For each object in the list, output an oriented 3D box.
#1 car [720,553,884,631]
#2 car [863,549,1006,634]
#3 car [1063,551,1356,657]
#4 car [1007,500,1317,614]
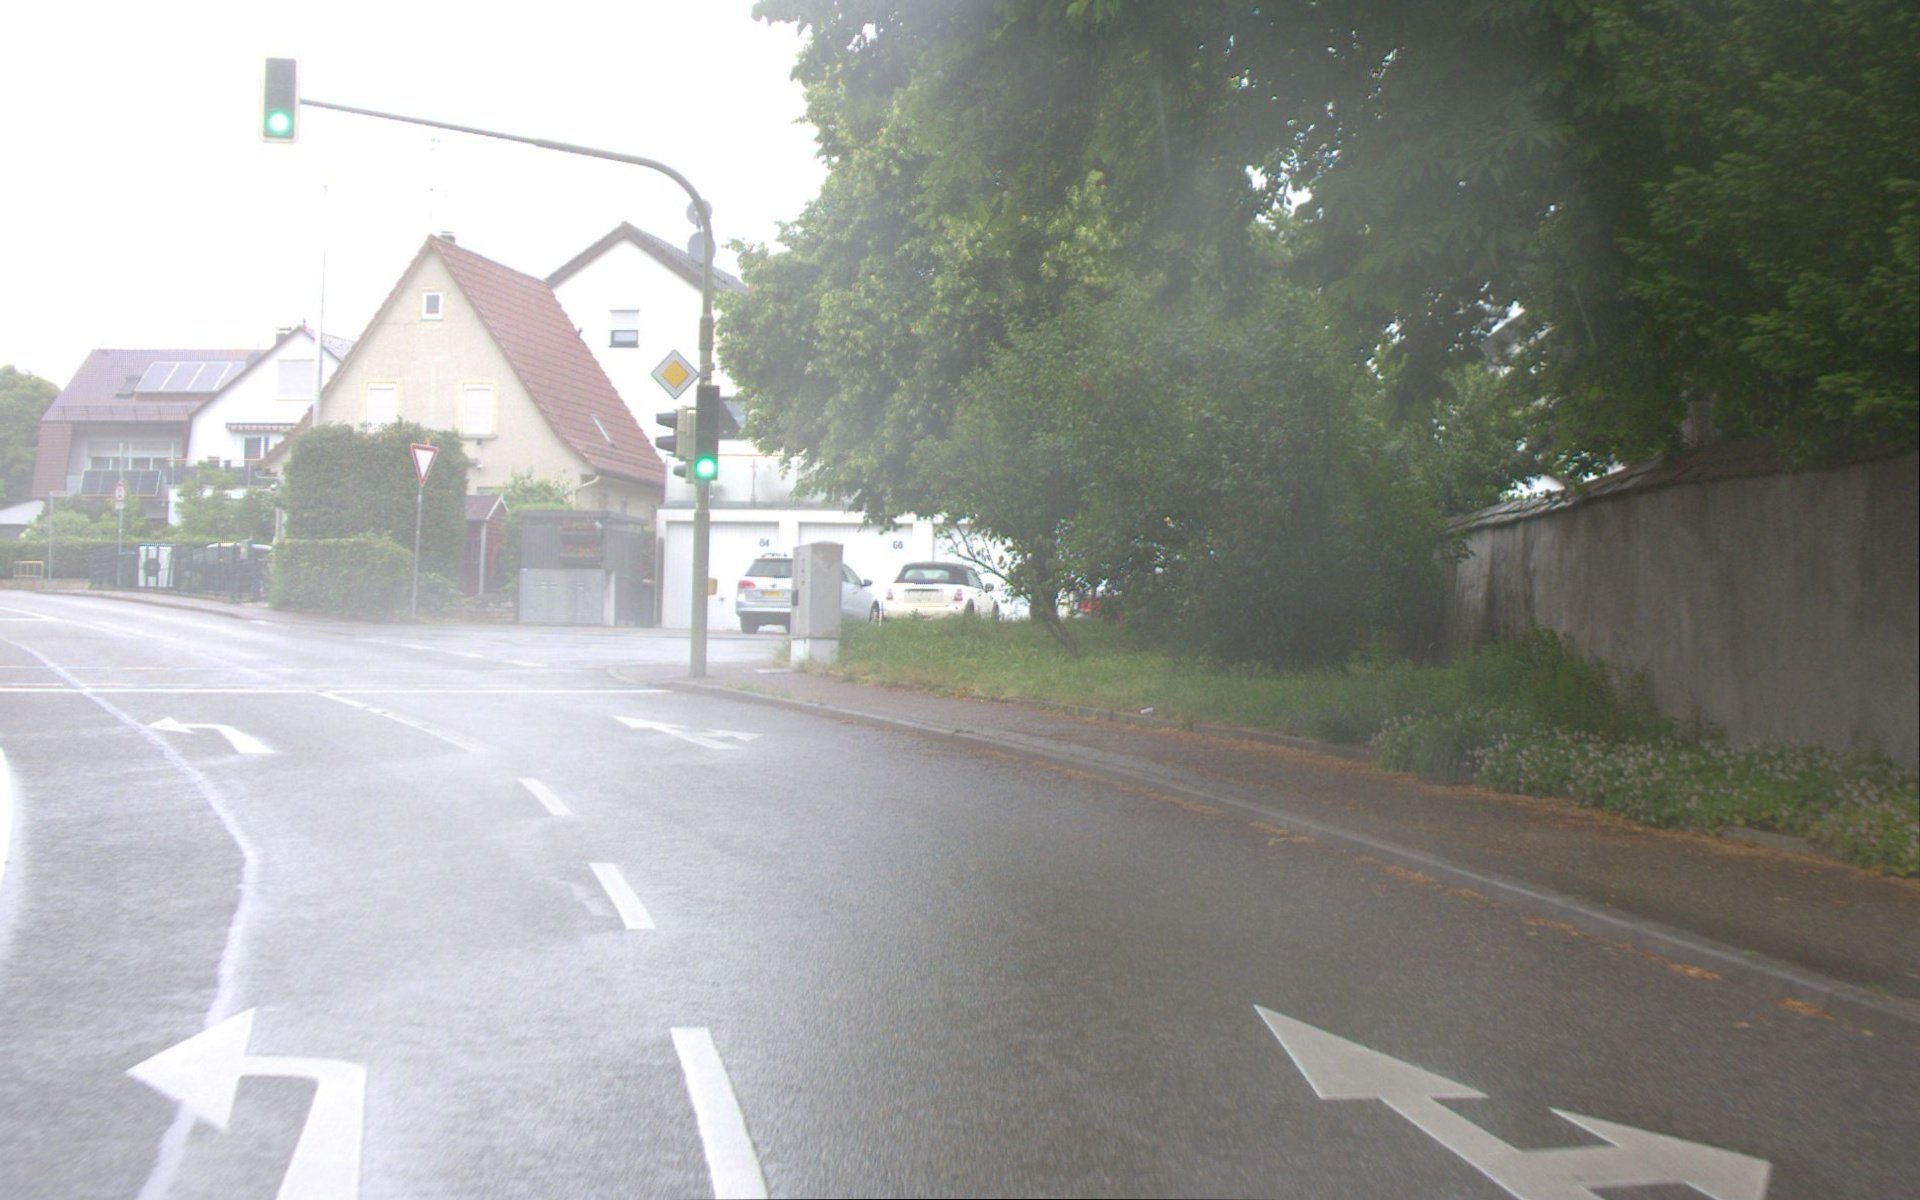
[{"bbox_3d":[-2.963,-0.184,65.401,1.995,1.393,4.148,1,1,14],"label":"car"},{"bbox_3d":[-0.441,-0.192,64.999,1.994,1.525,3.998,1,1,10],"label":"car"},{"bbox_3d":[3.776,0.053,52.459,4.174,1.437,1.834,2,1,-5],"label":"car"},{"bbox_3d":[2.650,-0.564,45.345,3.987,1.450,1.854,0,1,3],"label":"car"}]
